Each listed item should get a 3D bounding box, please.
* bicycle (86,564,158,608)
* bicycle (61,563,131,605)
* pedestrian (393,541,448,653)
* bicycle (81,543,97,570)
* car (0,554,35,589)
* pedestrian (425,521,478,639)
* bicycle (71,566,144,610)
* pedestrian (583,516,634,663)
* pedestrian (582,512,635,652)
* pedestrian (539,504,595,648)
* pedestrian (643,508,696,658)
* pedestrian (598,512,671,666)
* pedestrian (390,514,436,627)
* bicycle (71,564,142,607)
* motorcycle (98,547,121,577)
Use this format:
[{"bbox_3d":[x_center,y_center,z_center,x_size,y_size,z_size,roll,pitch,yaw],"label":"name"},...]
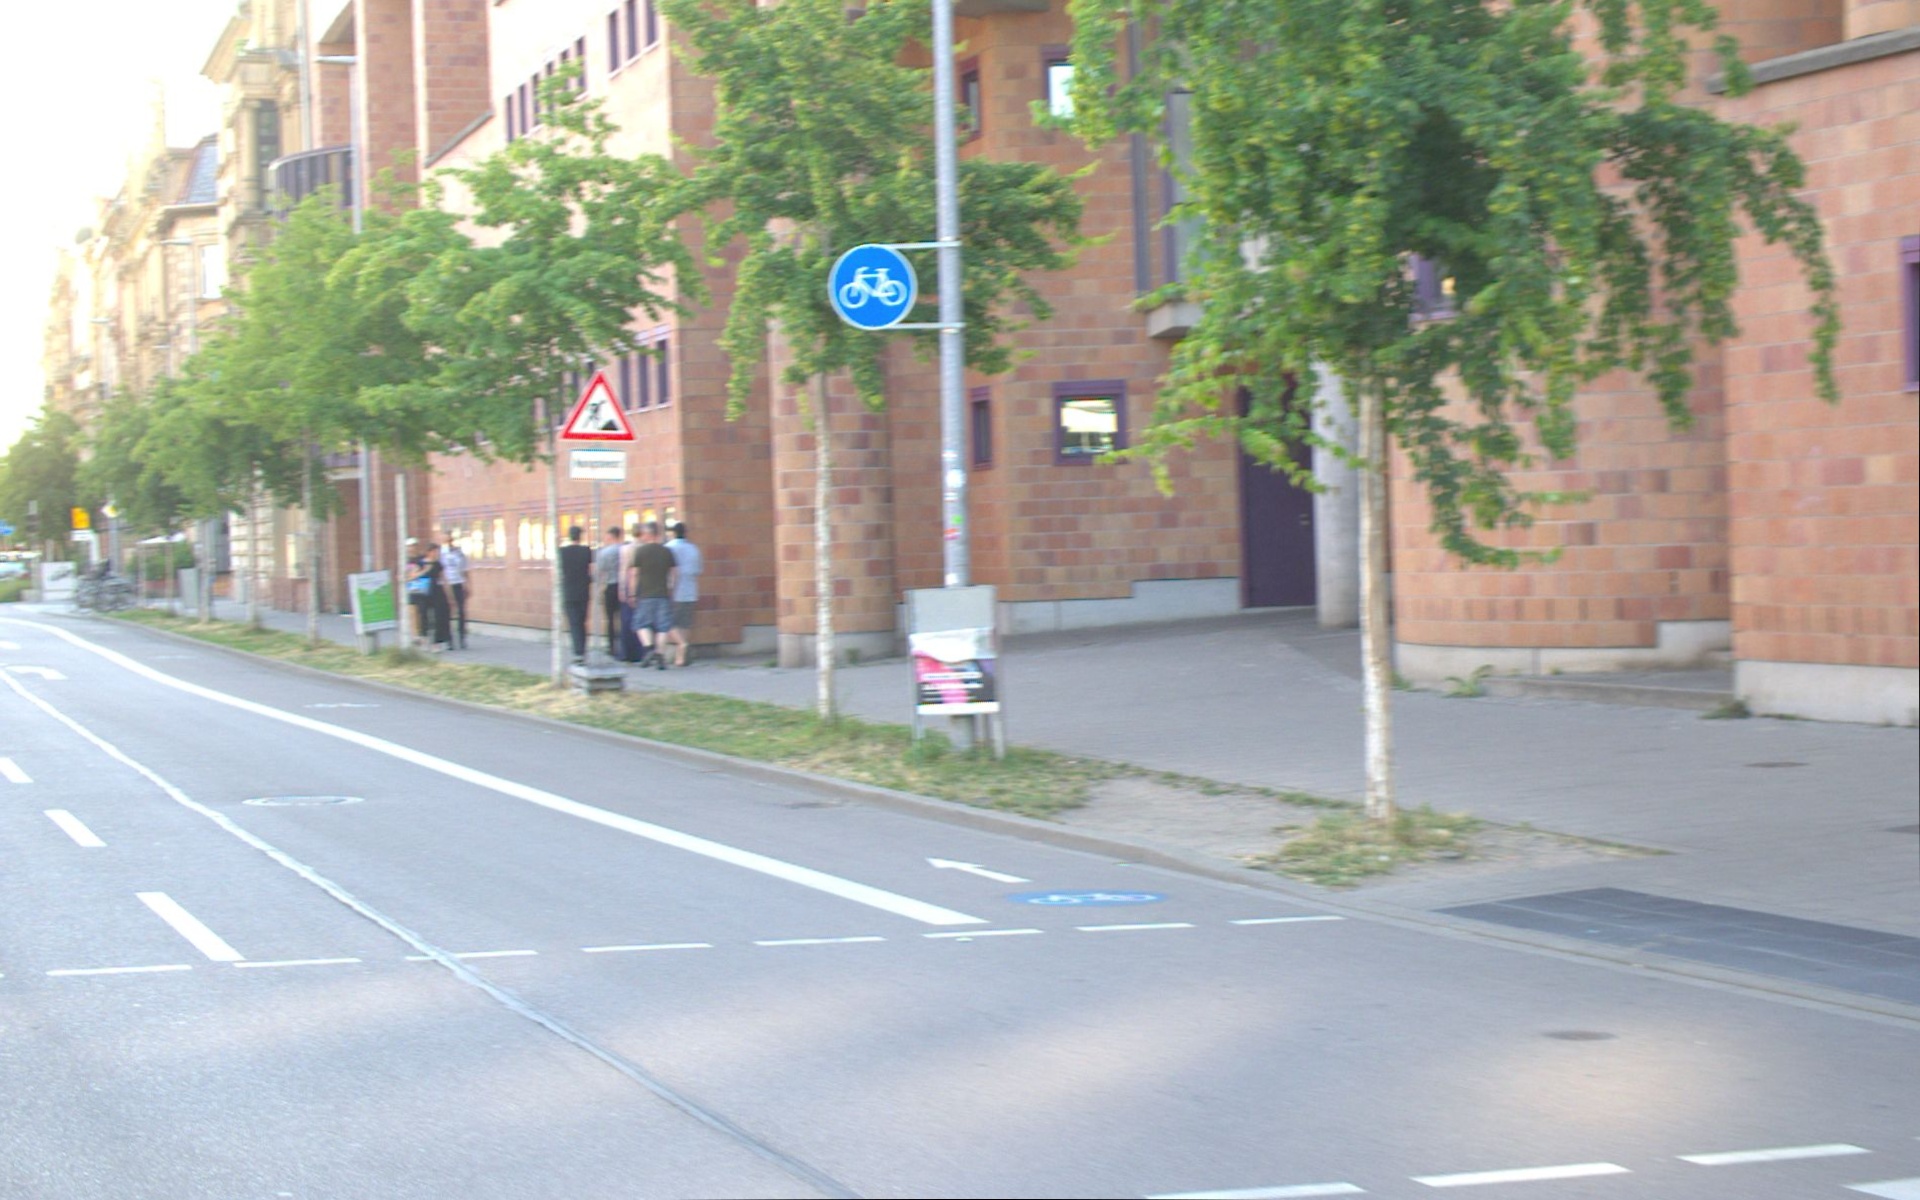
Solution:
[{"bbox_3d":[-23.723,-0.405,97.277,1.825,1.061,0.664,-5,3,-22],"label":"bicycle"},{"bbox_3d":[-25.092,-0.465,99.849,1.825,1.061,0.664,-5,3,-22],"label":"bicycle"},{"bbox_3d":[-7.871,-0.049,50.132,0.516,1.600,0.705,-3,1,-30],"label":"pedestrian"},{"bbox_3d":[-47.185,-2.382,186.212,0.660,1.397,2.353,-3,2,-18],"label":"bicycle"},{"bbox_3d":[-44.720,-1.351,162.807,1.637,1.481,4.213,-4,3,-14],"label":"car"},{"bbox_3d":[-7.510,-0.296,50.746,0.571,1.707,0.641,-2,1,-22],"label":"pedestrian"},{"bbox_3d":[-23.755,-0.345,95.834,1.825,1.061,0.664,-5,3,-22],"label":"bicycle"},{"bbox_3d":[-4.263,-0.134,41.680,0.536,1.750,0.696,-2,1,-7],"label":"pedestrian"},{"bbox_3d":[-4.440,-0.232,43.438,0.536,1.750,0.422,-2,1,-17],"label":"pedestrian"},{"bbox_3d":[-4.866,-0.297,42.542,0.536,1.750,0.465,-2,1,-18],"label":"pedestrian"},{"bbox_3d":[-3.458,-0.208,40.856,0.536,1.750,0.696,-2,1,-7],"label":"pedestrian"},{"bbox_3d":[-3.788,-0.135,40.065,0.732,1.750,0.695,-2,1,0],"label":"pedestrian"},{"bbox_3d":[-8.548,-0.462,53.741,0.536,1.750,0.422,-3,1,-31],"label":"pedestrian"},{"bbox_3d":[-24.445,-0.431,98.505,1.825,1.061,0.664,-5,3,-22],"label":"bicycle"},{"bbox_3d":[-39.356,-1.764,159.068,0.794,1.304,2.853,-4,3,-17],"label":"motorcycle"}]
